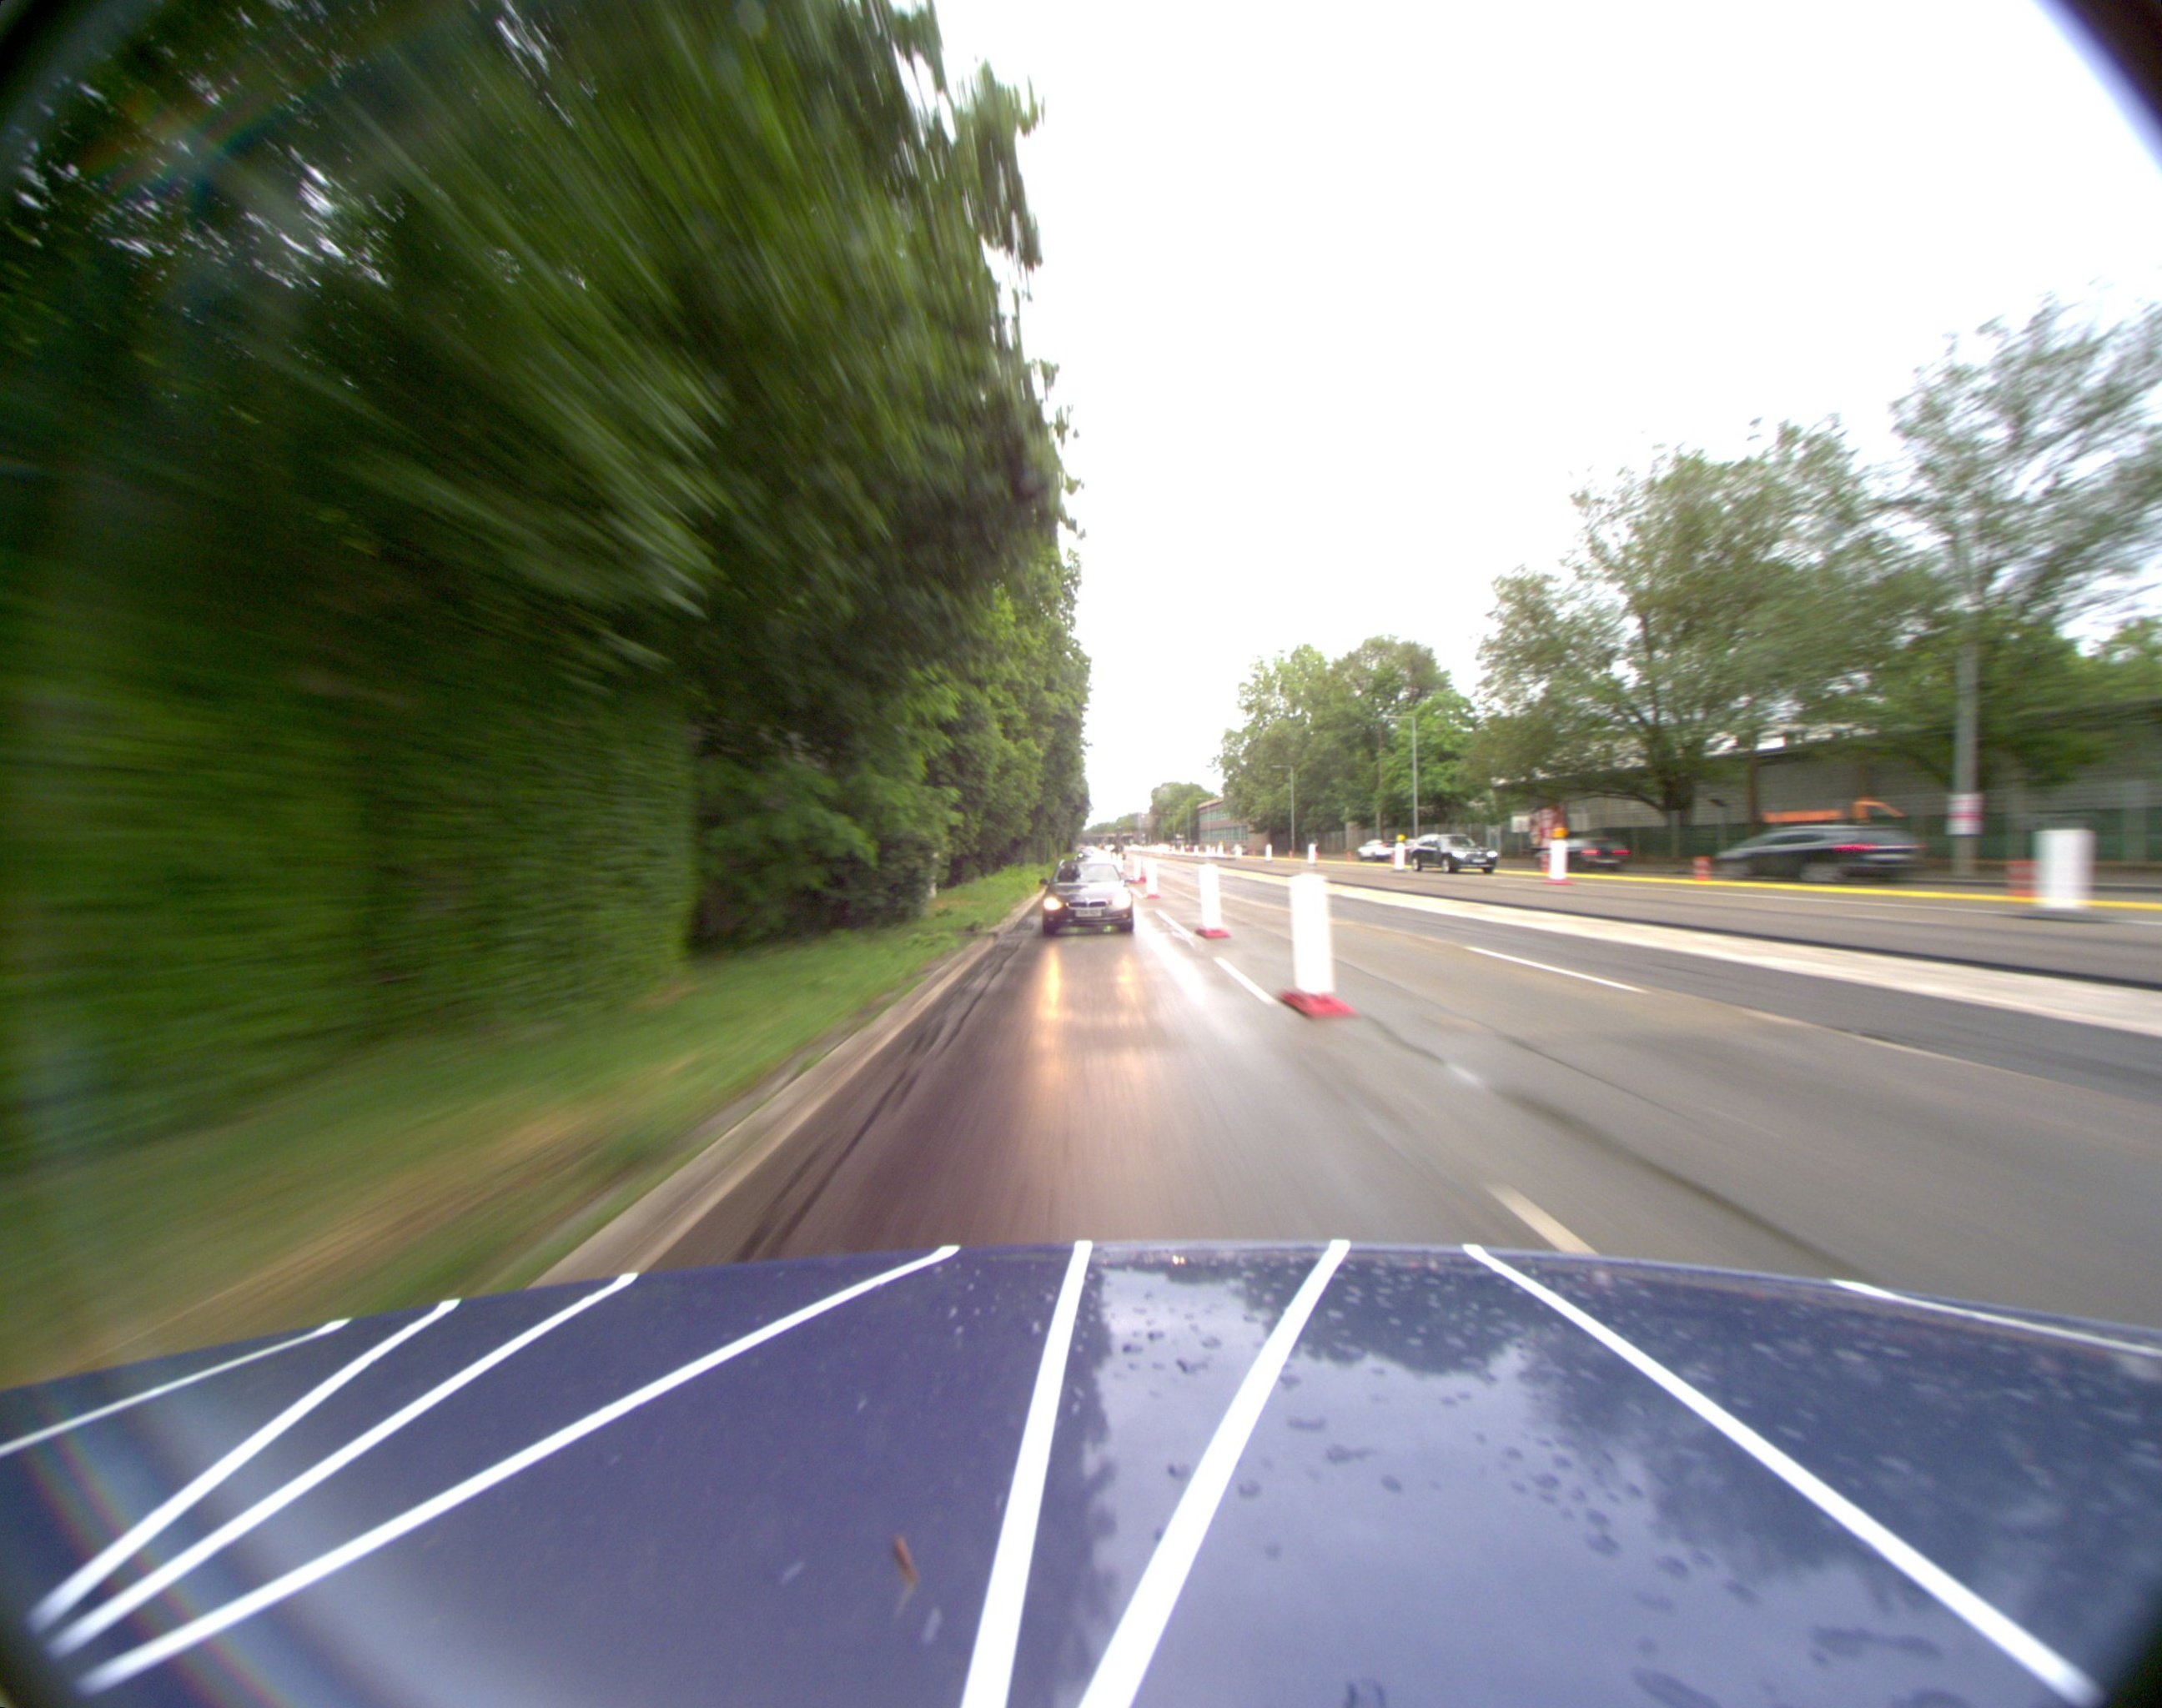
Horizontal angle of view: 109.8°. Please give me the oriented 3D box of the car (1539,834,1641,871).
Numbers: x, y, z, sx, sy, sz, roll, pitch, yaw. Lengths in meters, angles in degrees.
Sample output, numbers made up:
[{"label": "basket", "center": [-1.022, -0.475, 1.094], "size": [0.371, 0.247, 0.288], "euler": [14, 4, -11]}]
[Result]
[{"label": "car", "center": [21.646, -0.075, 32.474], "size": [1.863, 1.467, 3.731], "euler": [0, 1, 1]}]

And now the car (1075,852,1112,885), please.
[{"label": "car", "center": [0.655, 0.713, 38.766], "size": [1.742, 1.454, 4.457], "euler": [-2, 1, 1]}]

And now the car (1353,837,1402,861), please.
[{"label": "car", "center": [21.611, -0.399, 55.559], "size": [1.863, 1.696, 4.364], "euler": [0, 1, 1]}]

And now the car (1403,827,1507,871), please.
[{"label": "car", "center": [15.599, -0.203, 32.044], "size": [1.998, 1.696, 4.984], "euler": [1, 0, 1]}]

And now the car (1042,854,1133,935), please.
[{"label": "car", "center": [0.160, 0.806, 17.233], "size": [1.742, 1.454, 4.457], "euler": [-2, 1, 1]}]

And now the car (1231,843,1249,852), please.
[{"label": "car", "center": [22.337, -0.949, 106.635], "size": [1.671, 1.308, 4.454], "euler": [0, 1, 1]}]

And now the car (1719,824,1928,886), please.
[{"label": "car", "center": [21.389, 0.009, 22.184], "size": [1.863, 1.620, 4.328], "euler": [0, 1, 1]}]

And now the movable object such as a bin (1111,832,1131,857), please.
[{"label": "movable object such as a bin", "center": [5.226, -1.209, 99.110], "size": [1.999, 3.084, 5.622], "euler": [-2, 1, -2]}]
